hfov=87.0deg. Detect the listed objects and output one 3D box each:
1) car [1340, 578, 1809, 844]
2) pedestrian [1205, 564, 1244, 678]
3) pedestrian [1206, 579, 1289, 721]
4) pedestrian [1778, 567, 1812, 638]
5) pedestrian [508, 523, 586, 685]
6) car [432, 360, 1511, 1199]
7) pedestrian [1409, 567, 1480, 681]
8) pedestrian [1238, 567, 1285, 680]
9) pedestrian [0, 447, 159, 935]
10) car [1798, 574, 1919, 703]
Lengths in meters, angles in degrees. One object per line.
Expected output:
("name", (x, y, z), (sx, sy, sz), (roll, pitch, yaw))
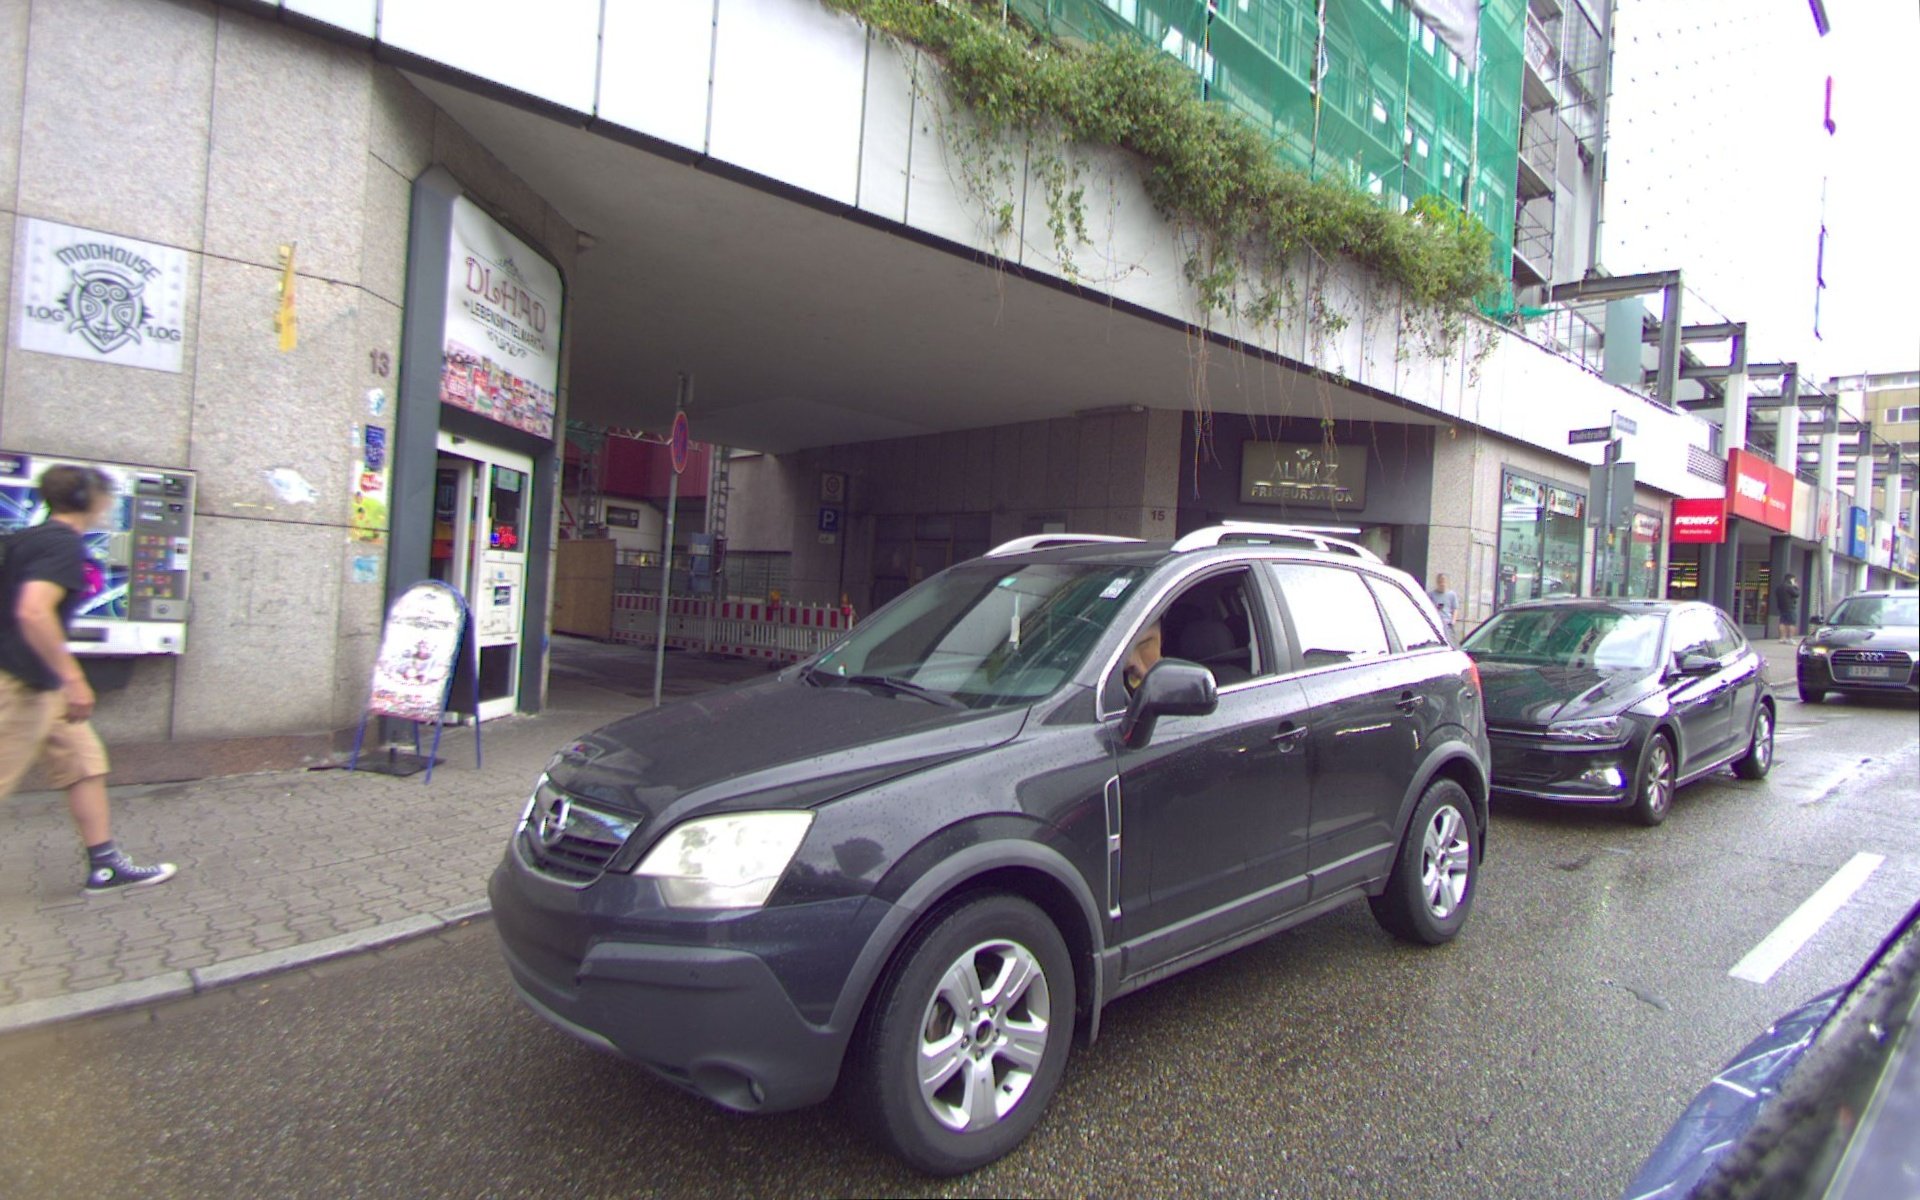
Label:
("car", (4.850, 0.653, 7.767), (4.087, 1.523, 1.759), (1, 0, -38))
("pedestrian", (4.068, 0.316, 15.597), (0.474, 1.729, 0.467), (0, 0, 1))
("pedestrian", (3.924, 0.653, 13.840), (0.760, 1.838, 0.743), (0, 3, -40))
("pedestrian", (20.225, 0.050, 24.515), (0.570, 1.699, 0.509), (-1, 3, -42))
("pedestrian", (-4.943, 0.019, 12.096), (0.729, 1.837, 0.774), (0, 5, -32))
("car", (0.395, 0.439, 3.981), (4.089, 1.788, 1.763), (1, 0, -40))
("pedestrian", (7.311, 0.341, 15.275), (0.718, 1.663, 0.640), (-1, 1, -21))
("pedestrian", (4.417, 0.334, 14.842), (0.630, 1.615, 0.574), (0, 1, 17))
("pedestrian", (-3.800, 0.317, 4.084), (0.757, 1.837, 0.745), (0, 5, -29))
("car", (13.549, 0.470, 14.334), (4.089, 1.628, 1.841), (-1, 1, -39))
